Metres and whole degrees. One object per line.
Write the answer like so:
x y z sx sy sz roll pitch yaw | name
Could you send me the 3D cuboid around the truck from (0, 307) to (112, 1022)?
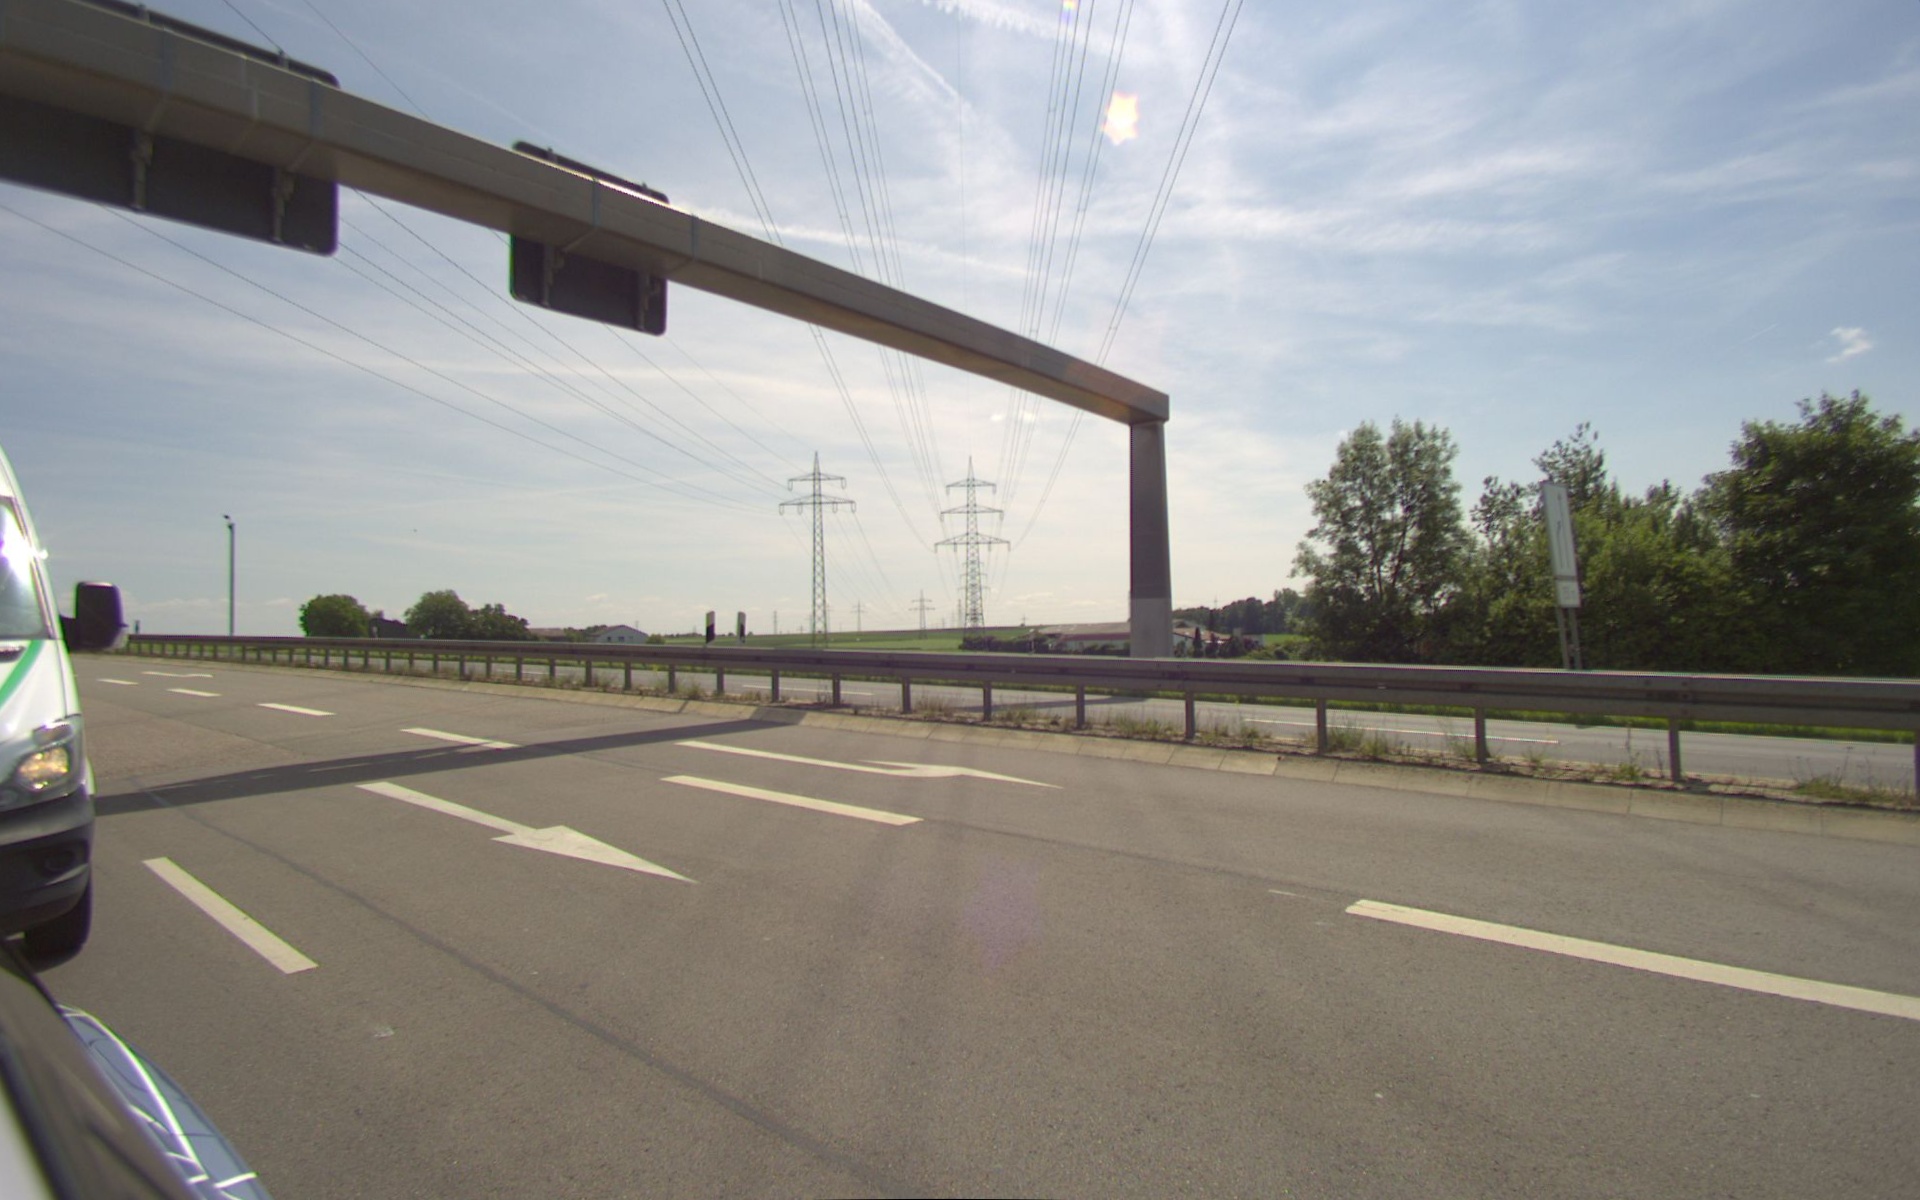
-5.756 0.272 4.840 5.105 2.552 1.972 -1 -1 43 | truck
